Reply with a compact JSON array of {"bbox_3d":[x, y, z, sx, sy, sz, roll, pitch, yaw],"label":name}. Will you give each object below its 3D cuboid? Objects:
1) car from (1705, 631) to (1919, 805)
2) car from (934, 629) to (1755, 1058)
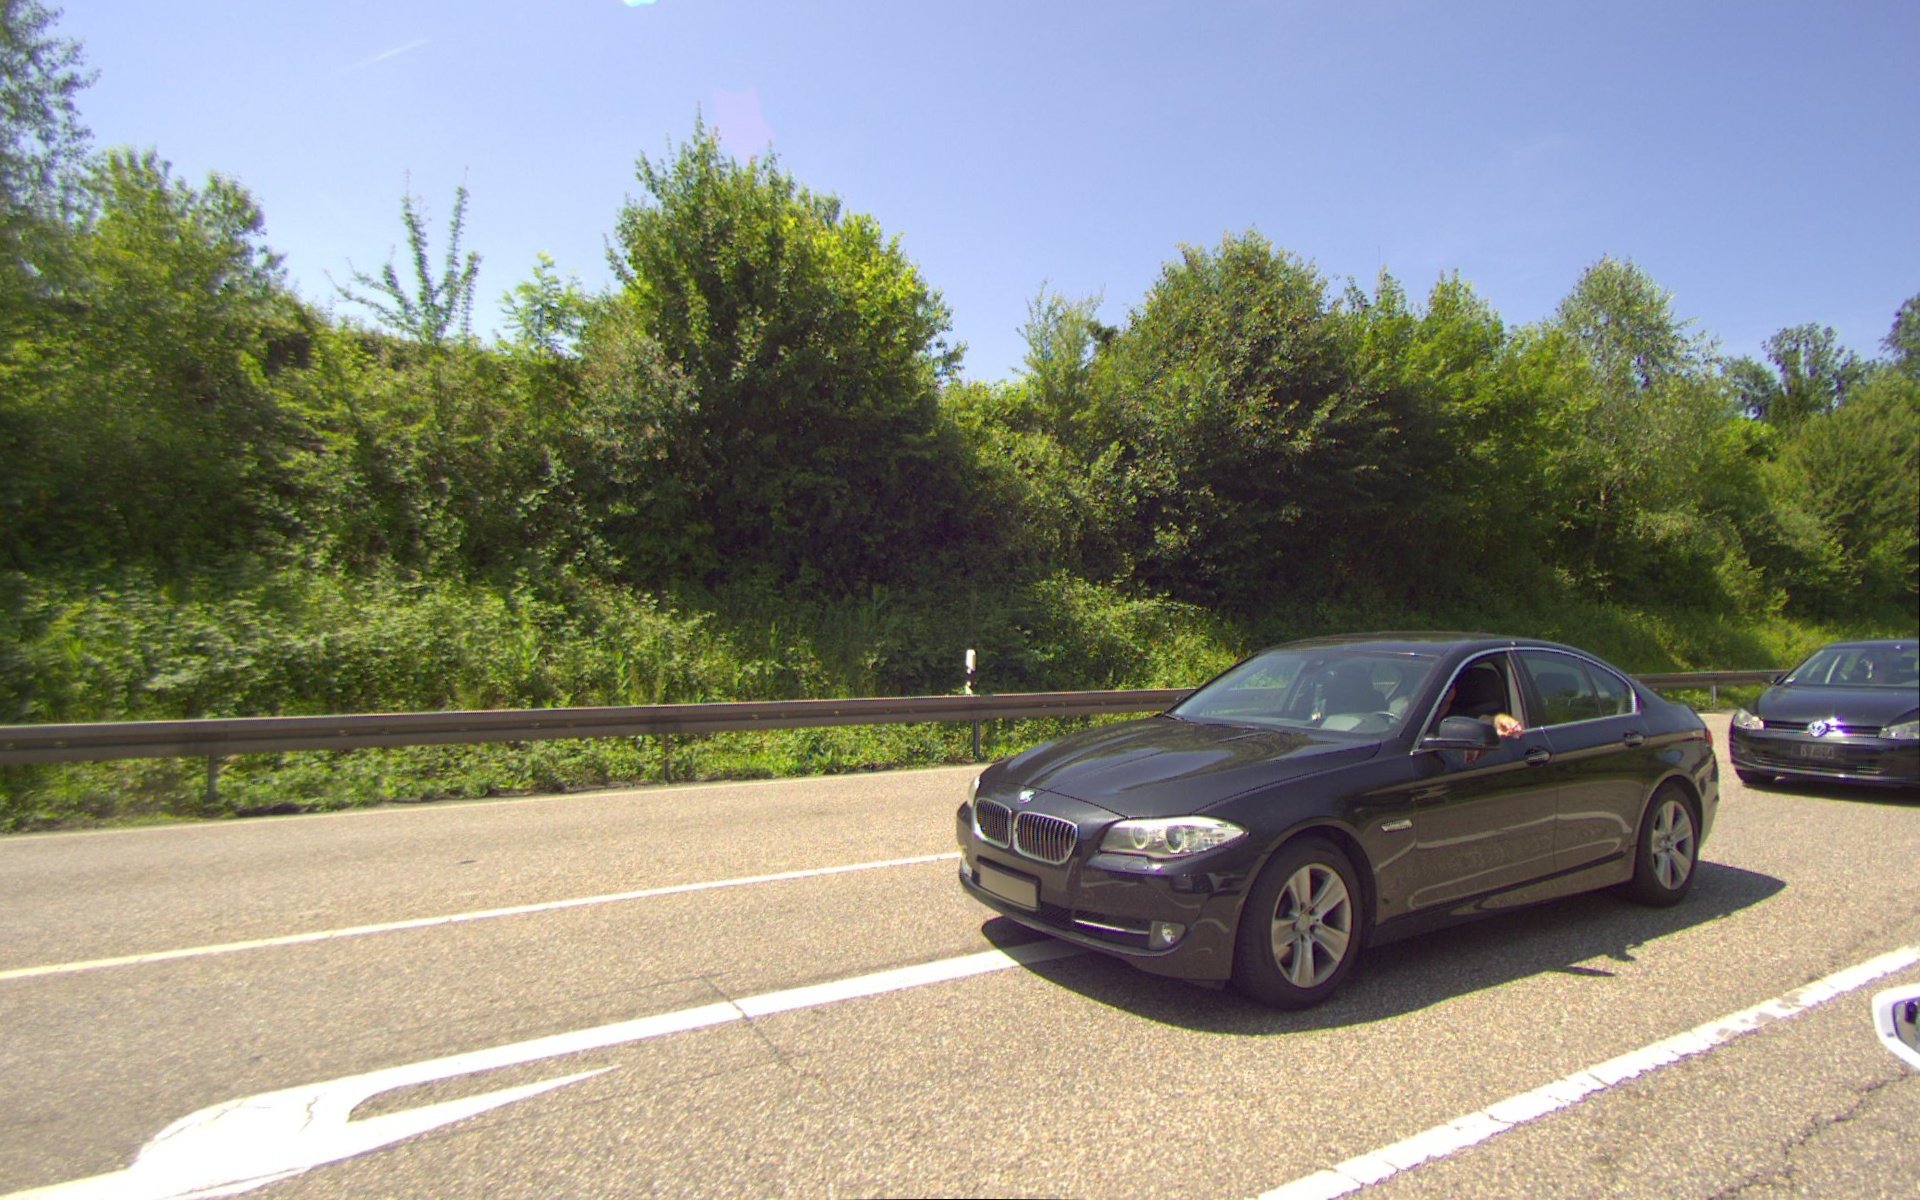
[{"bbox_3d":[9.378,1.028,10.024,4.133,1.433,1.673,1,-2,-31],"label":"car"},{"bbox_3d":[2.266,0.892,5.440,4.589,1.466,1.772,1,-2,-32],"label":"car"}]
